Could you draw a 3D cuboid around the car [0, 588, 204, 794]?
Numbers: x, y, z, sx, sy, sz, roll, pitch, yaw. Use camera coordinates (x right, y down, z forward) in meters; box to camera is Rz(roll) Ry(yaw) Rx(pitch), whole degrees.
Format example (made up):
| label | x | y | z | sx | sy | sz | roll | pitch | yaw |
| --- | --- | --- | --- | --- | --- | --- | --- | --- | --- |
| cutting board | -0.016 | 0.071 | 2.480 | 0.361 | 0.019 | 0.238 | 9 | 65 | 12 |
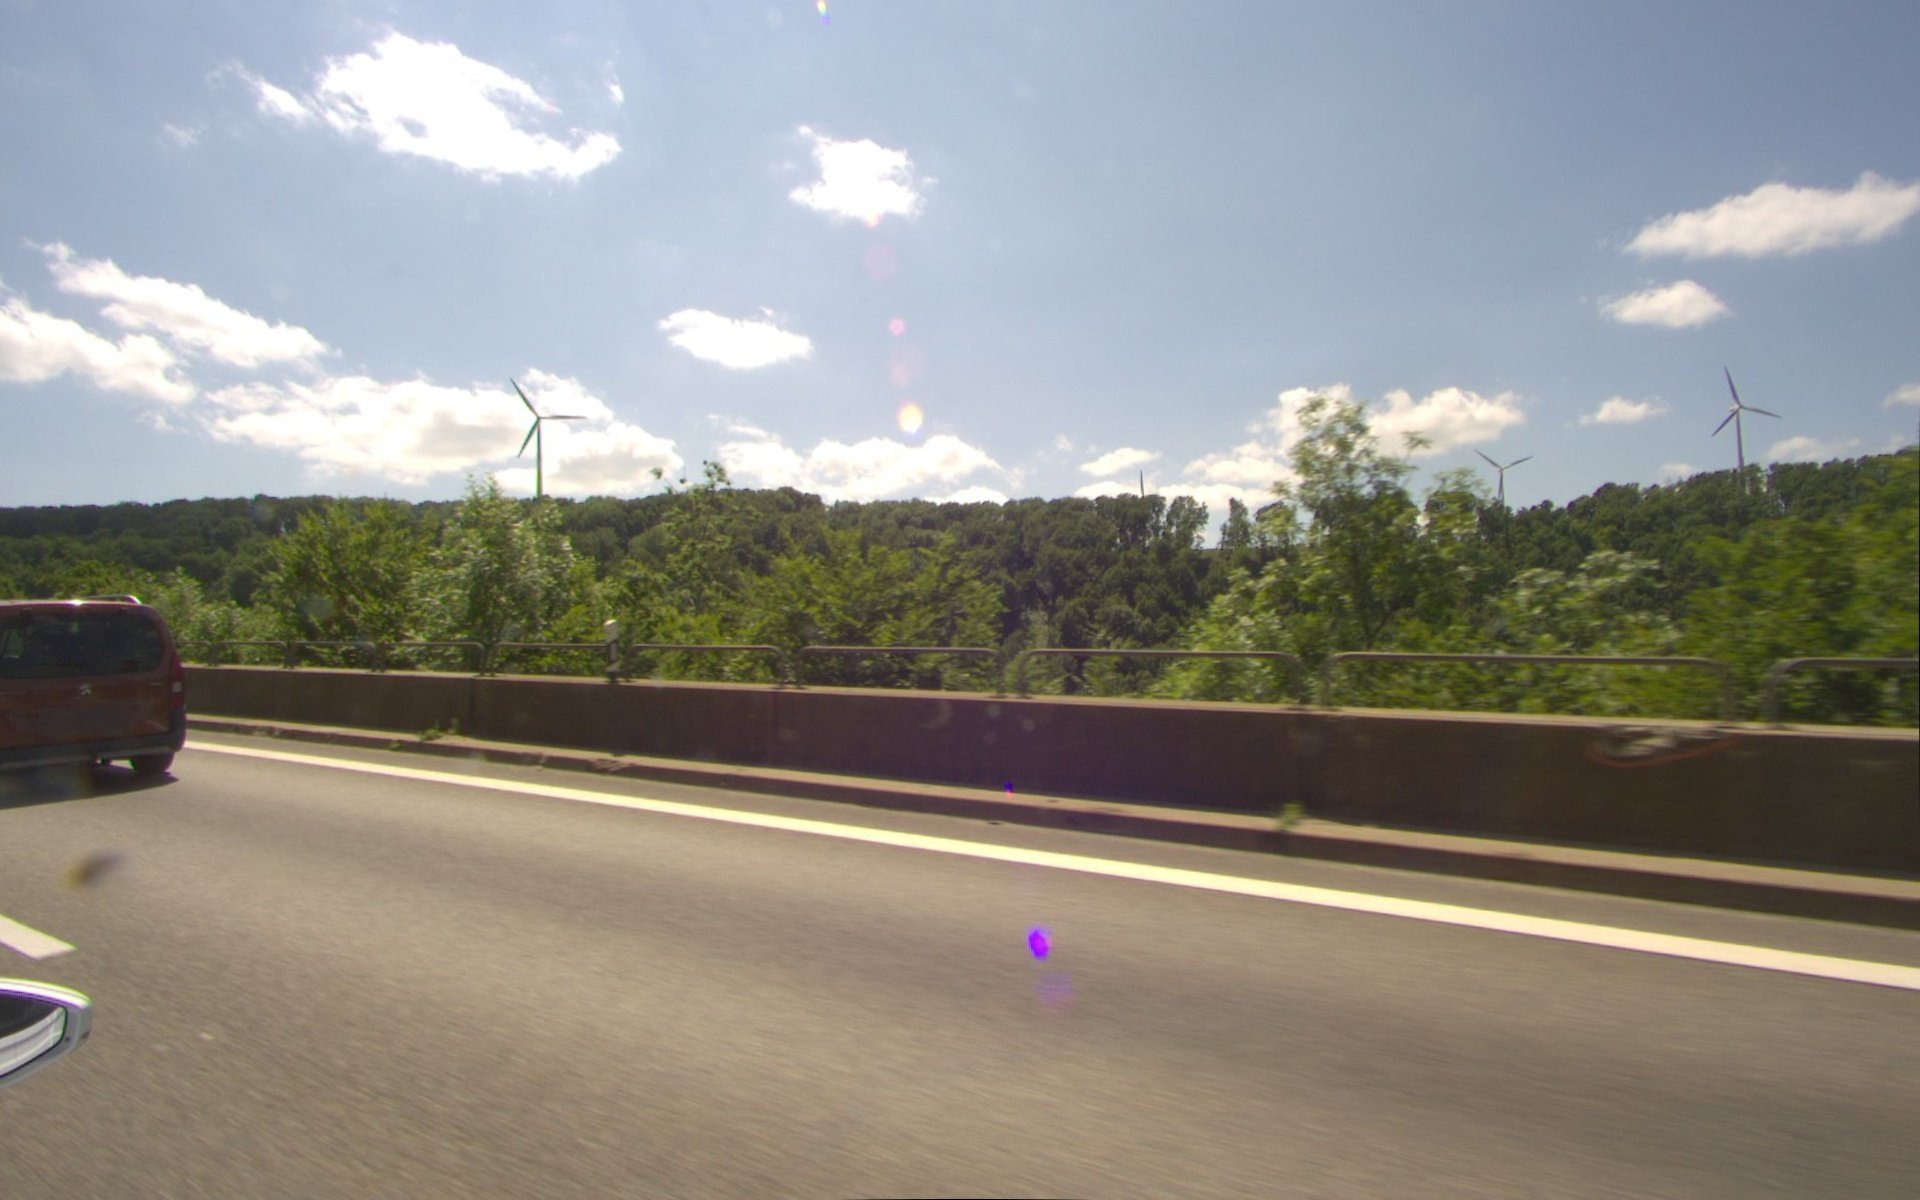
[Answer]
| label | x | y | z | sx | sy | sz | roll | pitch | yaw |
| --- | --- | --- | --- | --- | --- | --- | --- | --- | --- |
| car | -10.051 | 0.860 | 10.534 | 4.609 | 1.807 | 1.830 | -2 | -1 | 32 |
